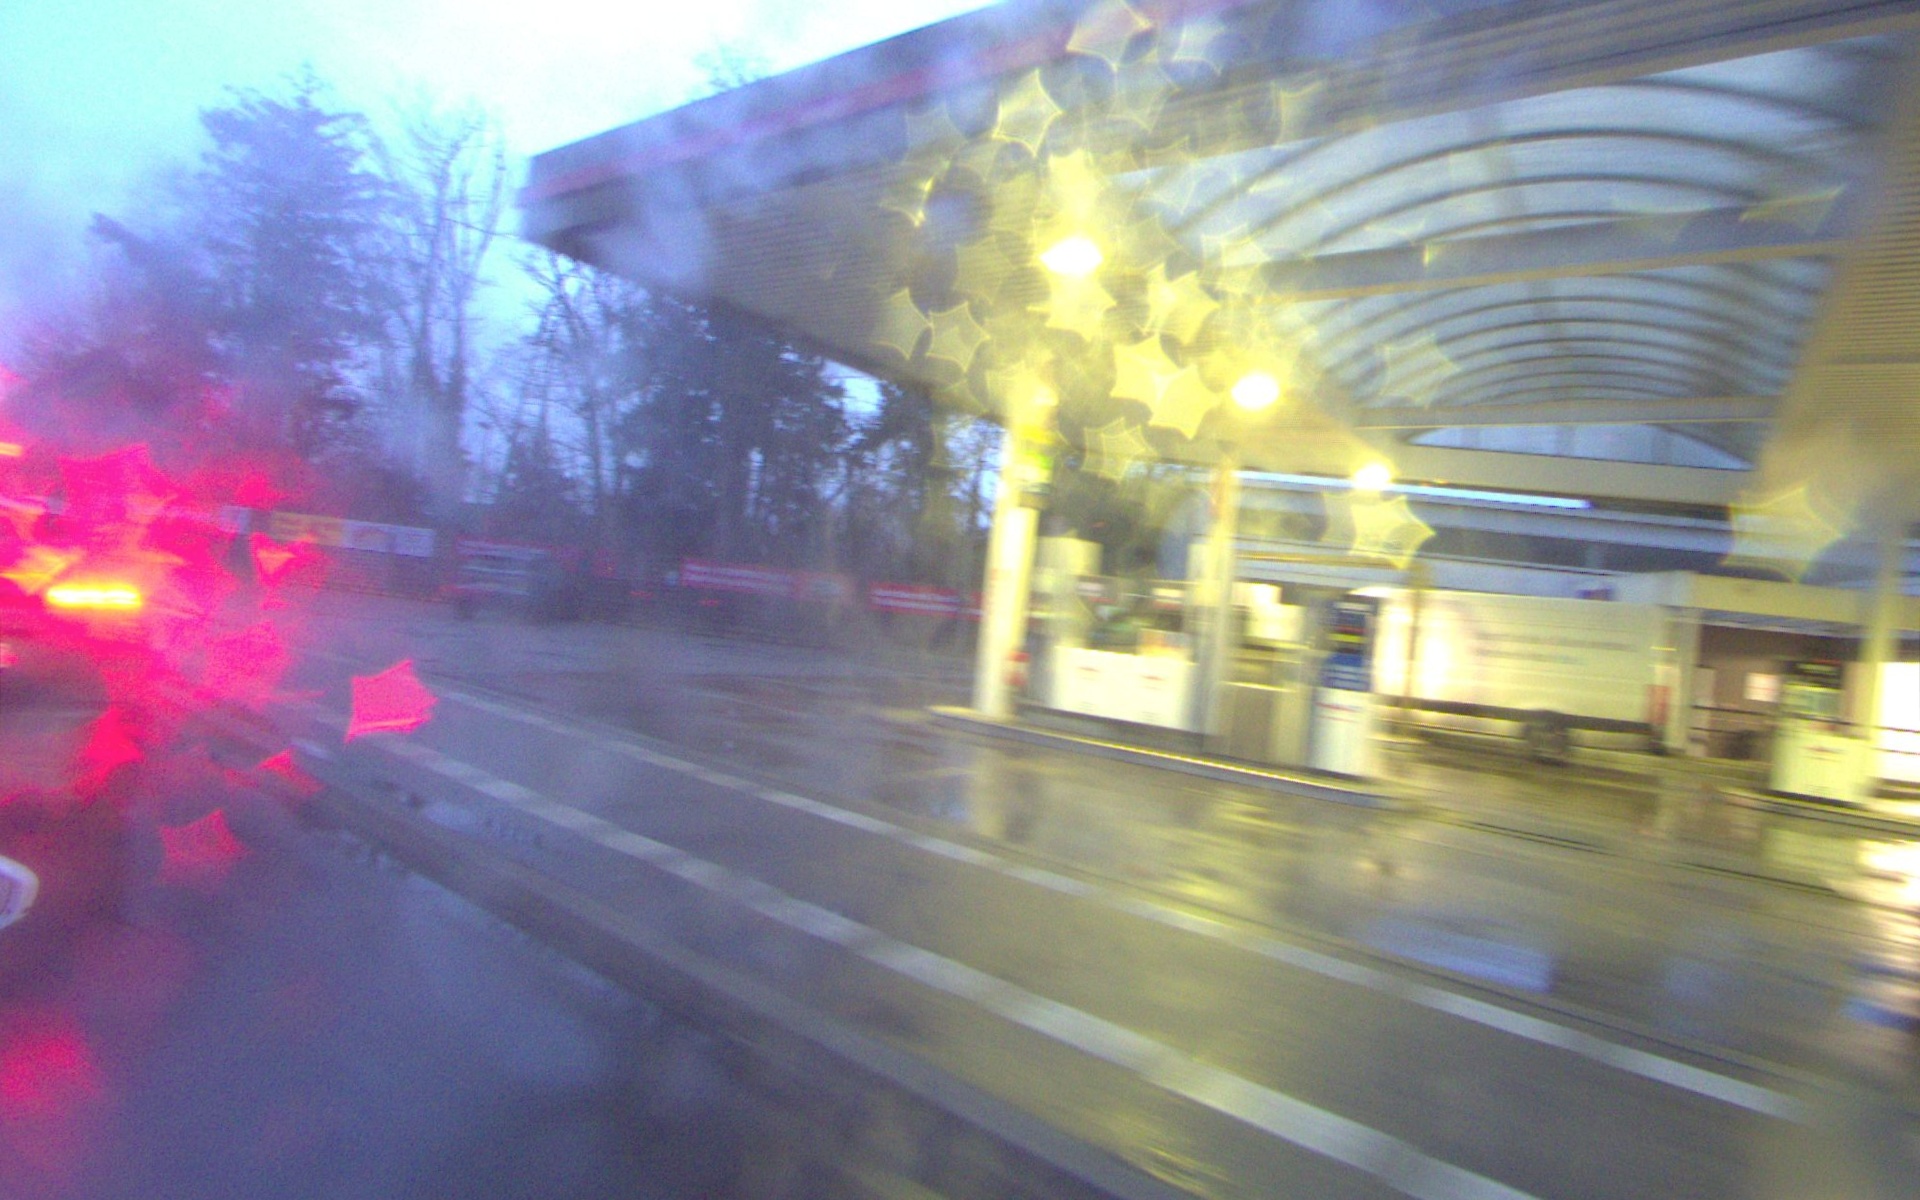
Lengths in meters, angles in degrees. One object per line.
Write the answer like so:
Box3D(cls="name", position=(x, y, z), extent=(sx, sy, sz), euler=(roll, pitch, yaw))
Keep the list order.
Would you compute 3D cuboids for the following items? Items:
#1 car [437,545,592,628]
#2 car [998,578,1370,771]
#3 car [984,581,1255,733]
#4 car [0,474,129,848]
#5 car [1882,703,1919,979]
Box3D(cls="car", position=(-10.701, -0.290, 24.578), extent=(1.984, 1.628, 4.479), euler=(6, 0, -5))
Box3D(cls="car", position=(2.867, 0.866, 13.339), extent=(4.234, 1.883, 1.991), euler=(6, 1, 38))
Box3D(cls="car", position=(2.674, 0.921, 17.232), extent=(3.941, 2.038, 1.992), euler=(6, 0, 38))
Box3D(cls="car", position=(-5.739, 0.067, 5.060), extent=(3.948, 1.547, 1.564), euler=(6, -1, 39))
Box3D(cls="car", position=(7.152, 1.496, 4.584), extent=(4.106, 1.414, 1.571), euler=(6, 1, 38))
